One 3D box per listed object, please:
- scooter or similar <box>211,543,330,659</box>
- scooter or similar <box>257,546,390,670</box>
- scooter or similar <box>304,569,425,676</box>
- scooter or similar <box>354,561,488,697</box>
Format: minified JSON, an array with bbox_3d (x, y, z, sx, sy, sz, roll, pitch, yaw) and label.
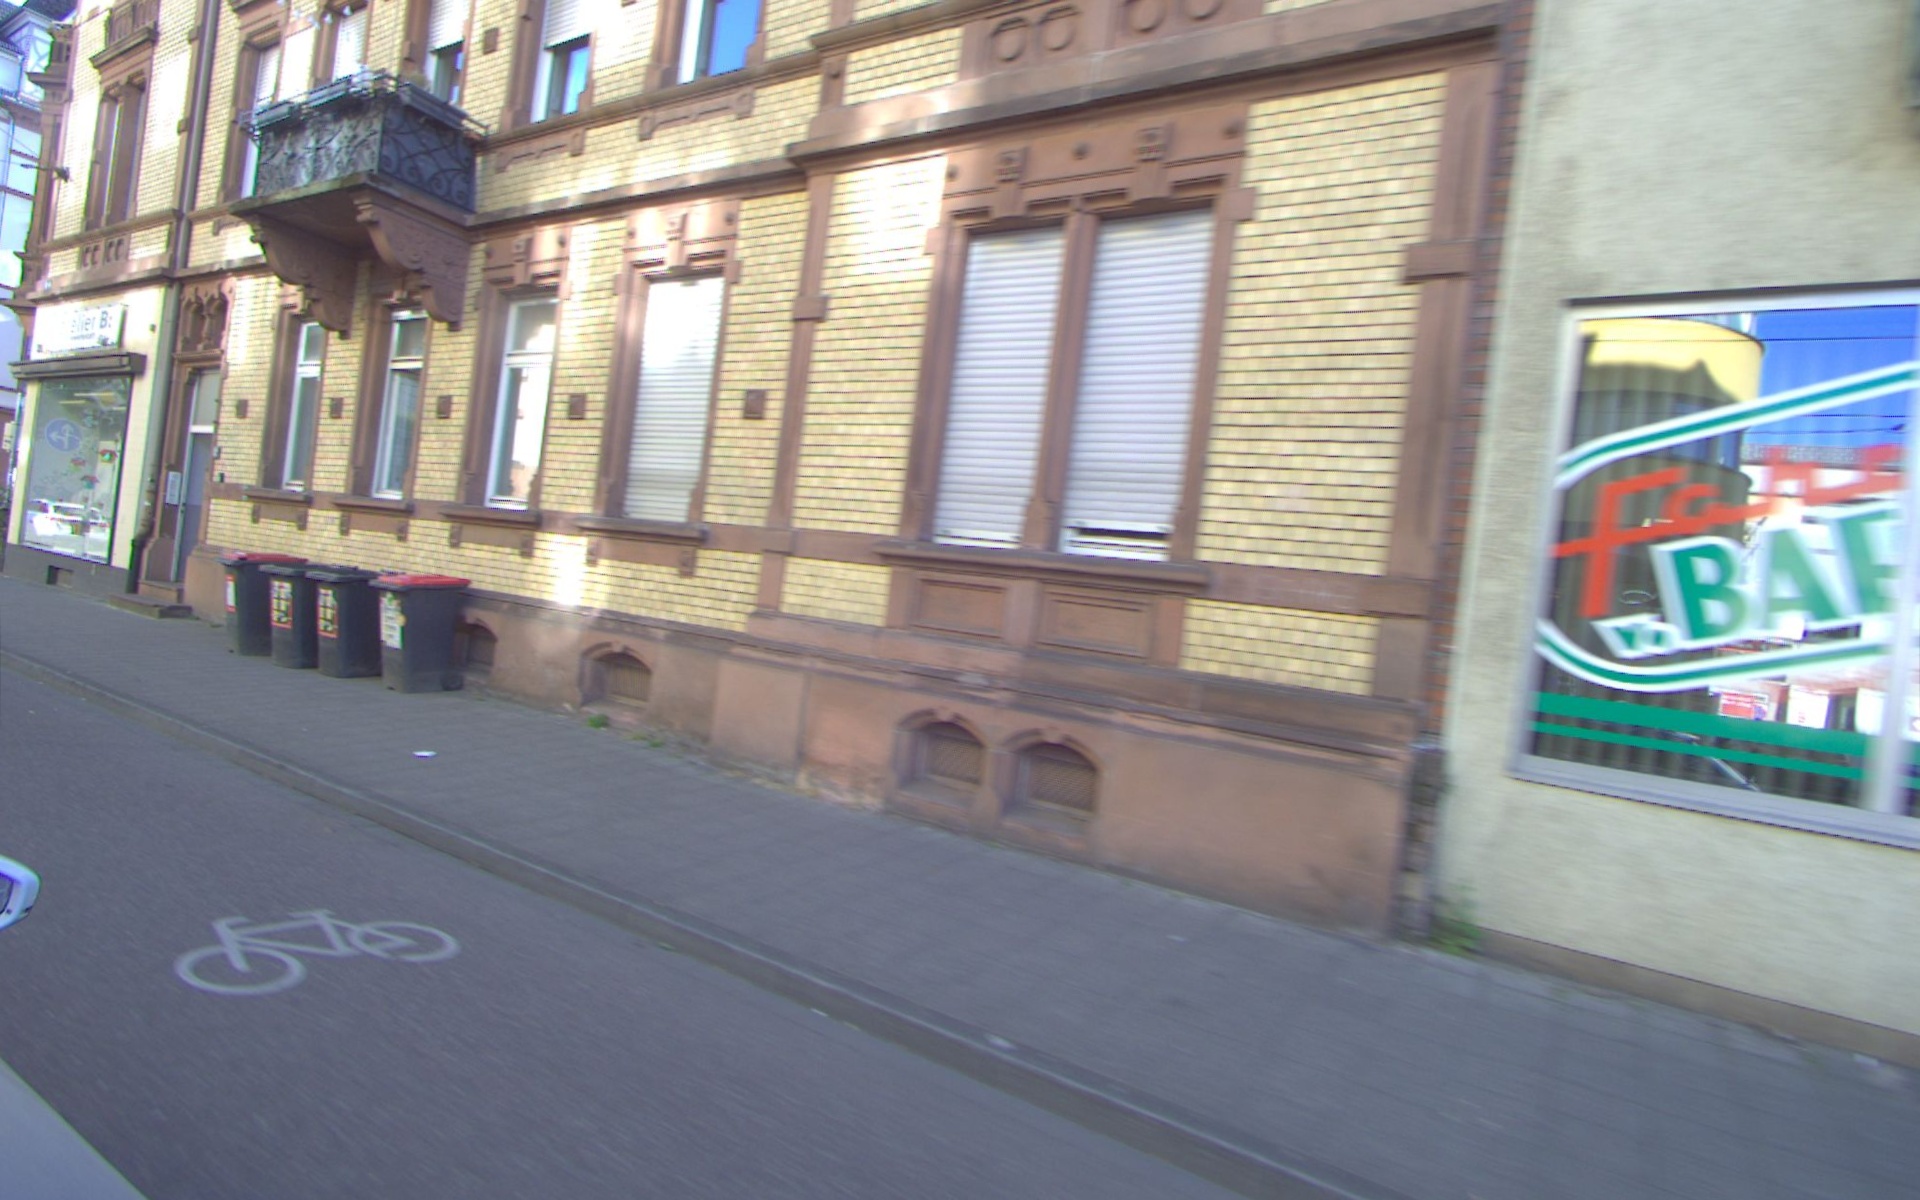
[{"bbox_3d":[-7.444,0.006,10.875,0.538,1.164,0.897,7,4,31],"label":"scooter or similar"},{"bbox_3d":[-6.530,0.078,10.346,0.639,1.164,0.933,7,4,31],"label":"scooter or similar"},{"bbox_3d":[-5.952,0.213,10.062,0.669,0.970,0.790,7,3,31],"label":"scooter or similar"},{"bbox_3d":[-5.110,0.259,9.548,0.777,1.164,0.790,7,4,31],"label":"scooter or similar"}]
